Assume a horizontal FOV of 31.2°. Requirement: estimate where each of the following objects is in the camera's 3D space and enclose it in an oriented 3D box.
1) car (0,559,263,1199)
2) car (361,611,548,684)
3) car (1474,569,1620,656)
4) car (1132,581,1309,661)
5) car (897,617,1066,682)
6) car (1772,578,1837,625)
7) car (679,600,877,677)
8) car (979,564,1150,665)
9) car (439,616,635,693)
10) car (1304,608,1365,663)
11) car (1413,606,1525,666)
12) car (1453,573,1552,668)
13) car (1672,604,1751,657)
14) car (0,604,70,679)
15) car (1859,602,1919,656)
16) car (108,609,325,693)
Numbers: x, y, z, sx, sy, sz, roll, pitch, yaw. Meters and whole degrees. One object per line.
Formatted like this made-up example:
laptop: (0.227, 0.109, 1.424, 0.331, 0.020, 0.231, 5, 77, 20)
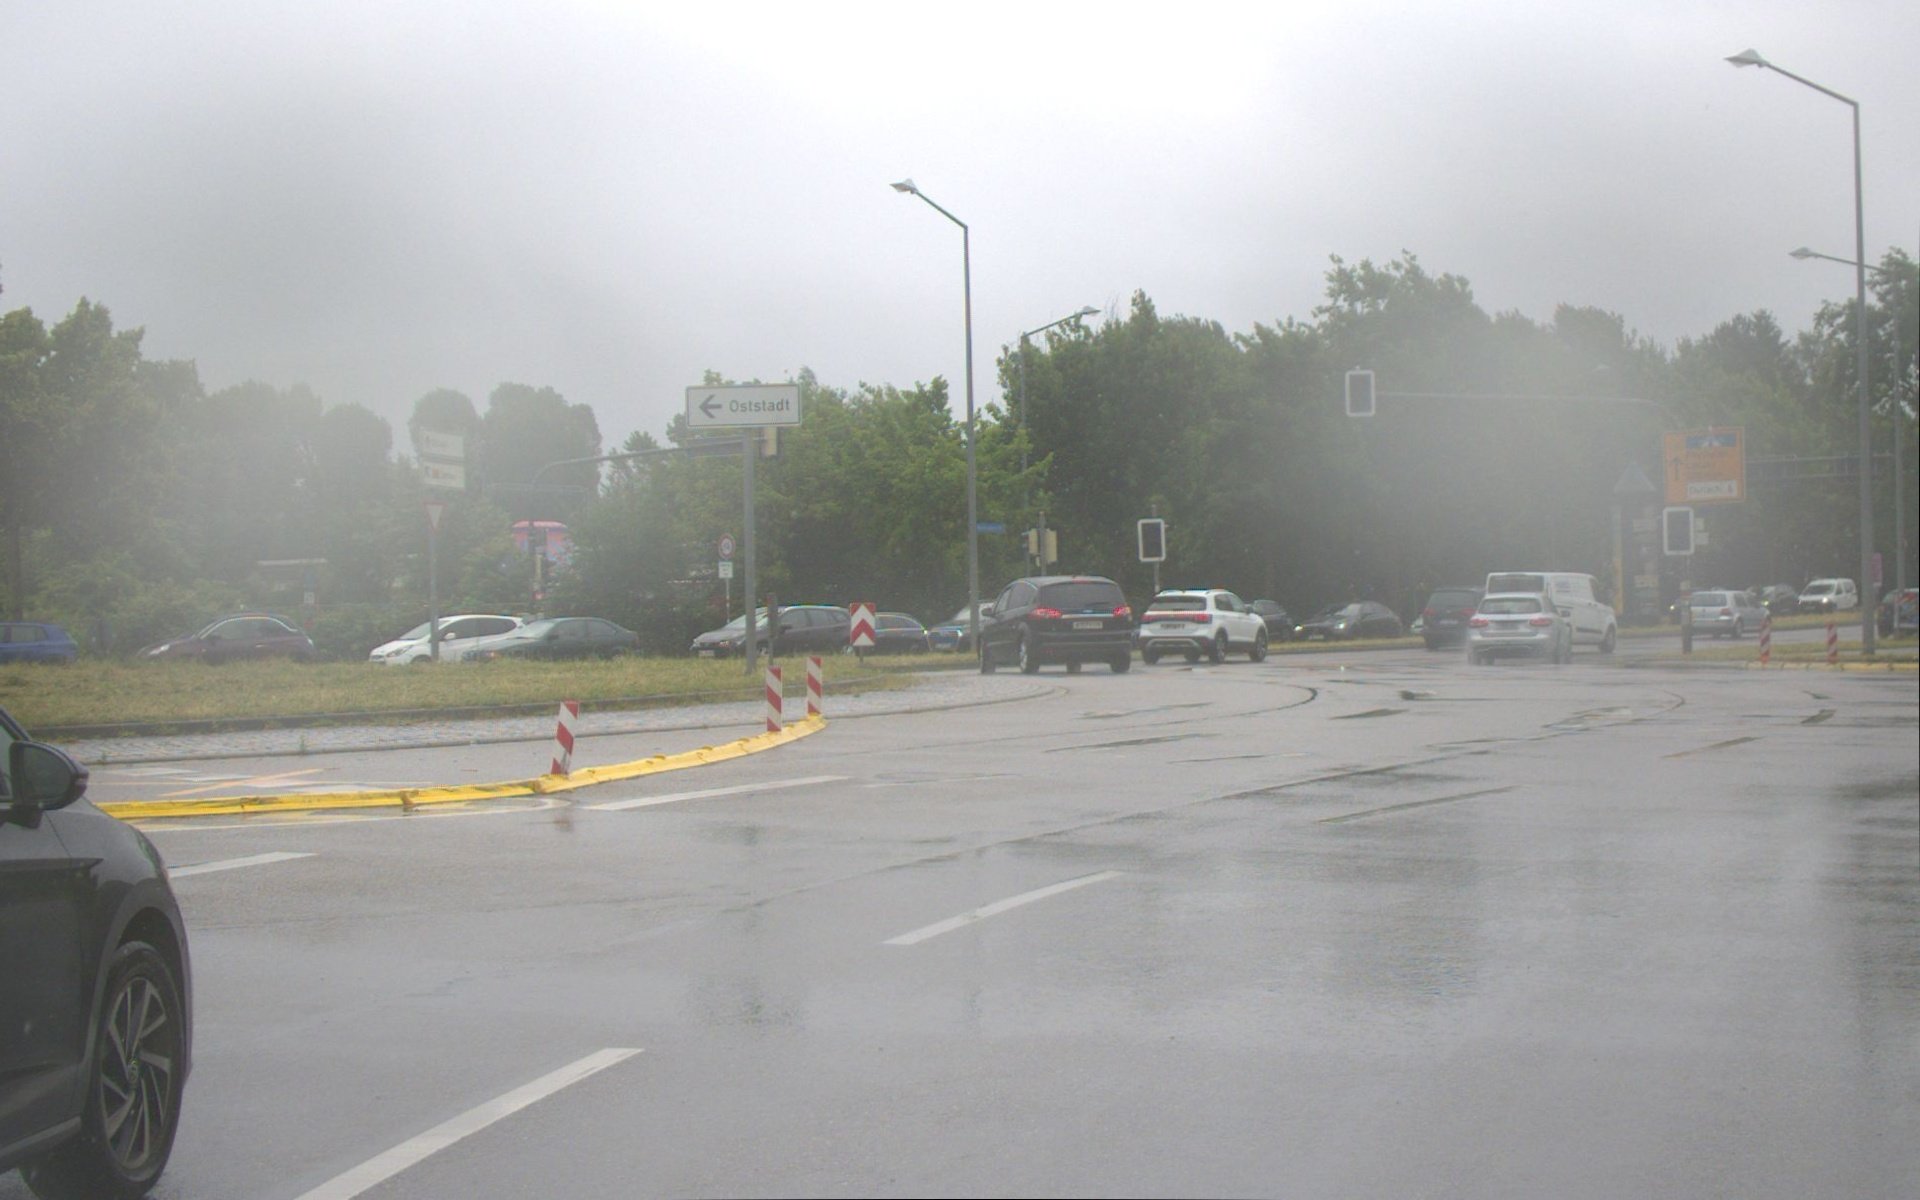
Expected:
car: (-2.815, 0.656, 6.611, 1.783, 1.512, 4.331, 1, -1, 4)
car: (-11.950, 1.130, 81.323, 3.986, 1.642, 1.789, 1, -1, -26)
car: (14.296, 0.326, 83.579, 1.787, 2.029, 3.991, 1, -1, 38)
car: (5.601, 0.461, 73.661, 1.685, 1.642, 3.937, 0, -1, 42)
car: (0.562, 1.262, 87.805, 3.986, 1.569, 1.677, 1, -1, -30)
car: (37.272, 0.086, 151.689, 1.791, 2.007, 3.667, 1, -1, 30)
car: (-4.046, 0.860, 76.525, 3.986, 1.642, 1.789, 1, -1, -26)
car: (1.737, 0.250, 58.701, 1.783, 1.642, 4.001, 1, -1, -16)
car: (-9.527, 1.222, 77.422, 3.986, 1.642, 1.789, 1, -1, -26)
car: (11.567, 1.101, 106.374, 1.783, 1.642, 4.393, 1, -1, 5)
car: (13.065, 0.932, 88.180, 1.692, 1.487, 3.245, 1, -1, 32)
car: (10.897, 0.398, 68.874, 1.784, 1.804, 4.835, -1, 0, 11)
car: (22.363, 0.906, 102.217, 1.691, 1.487, 3.247, -1, 0, 24)
car: (-21.909, 0.896, 76.224, 3.986, 1.642, 1.789, 1, -1, -22)
car: (27.122, 0.818, 98.694, 1.691, 1.487, 3.245, -1, 0, 30)
car: (-15.185, 1.046, 70.220, 3.986, 1.642, 1.789, 1, -1, -25)
